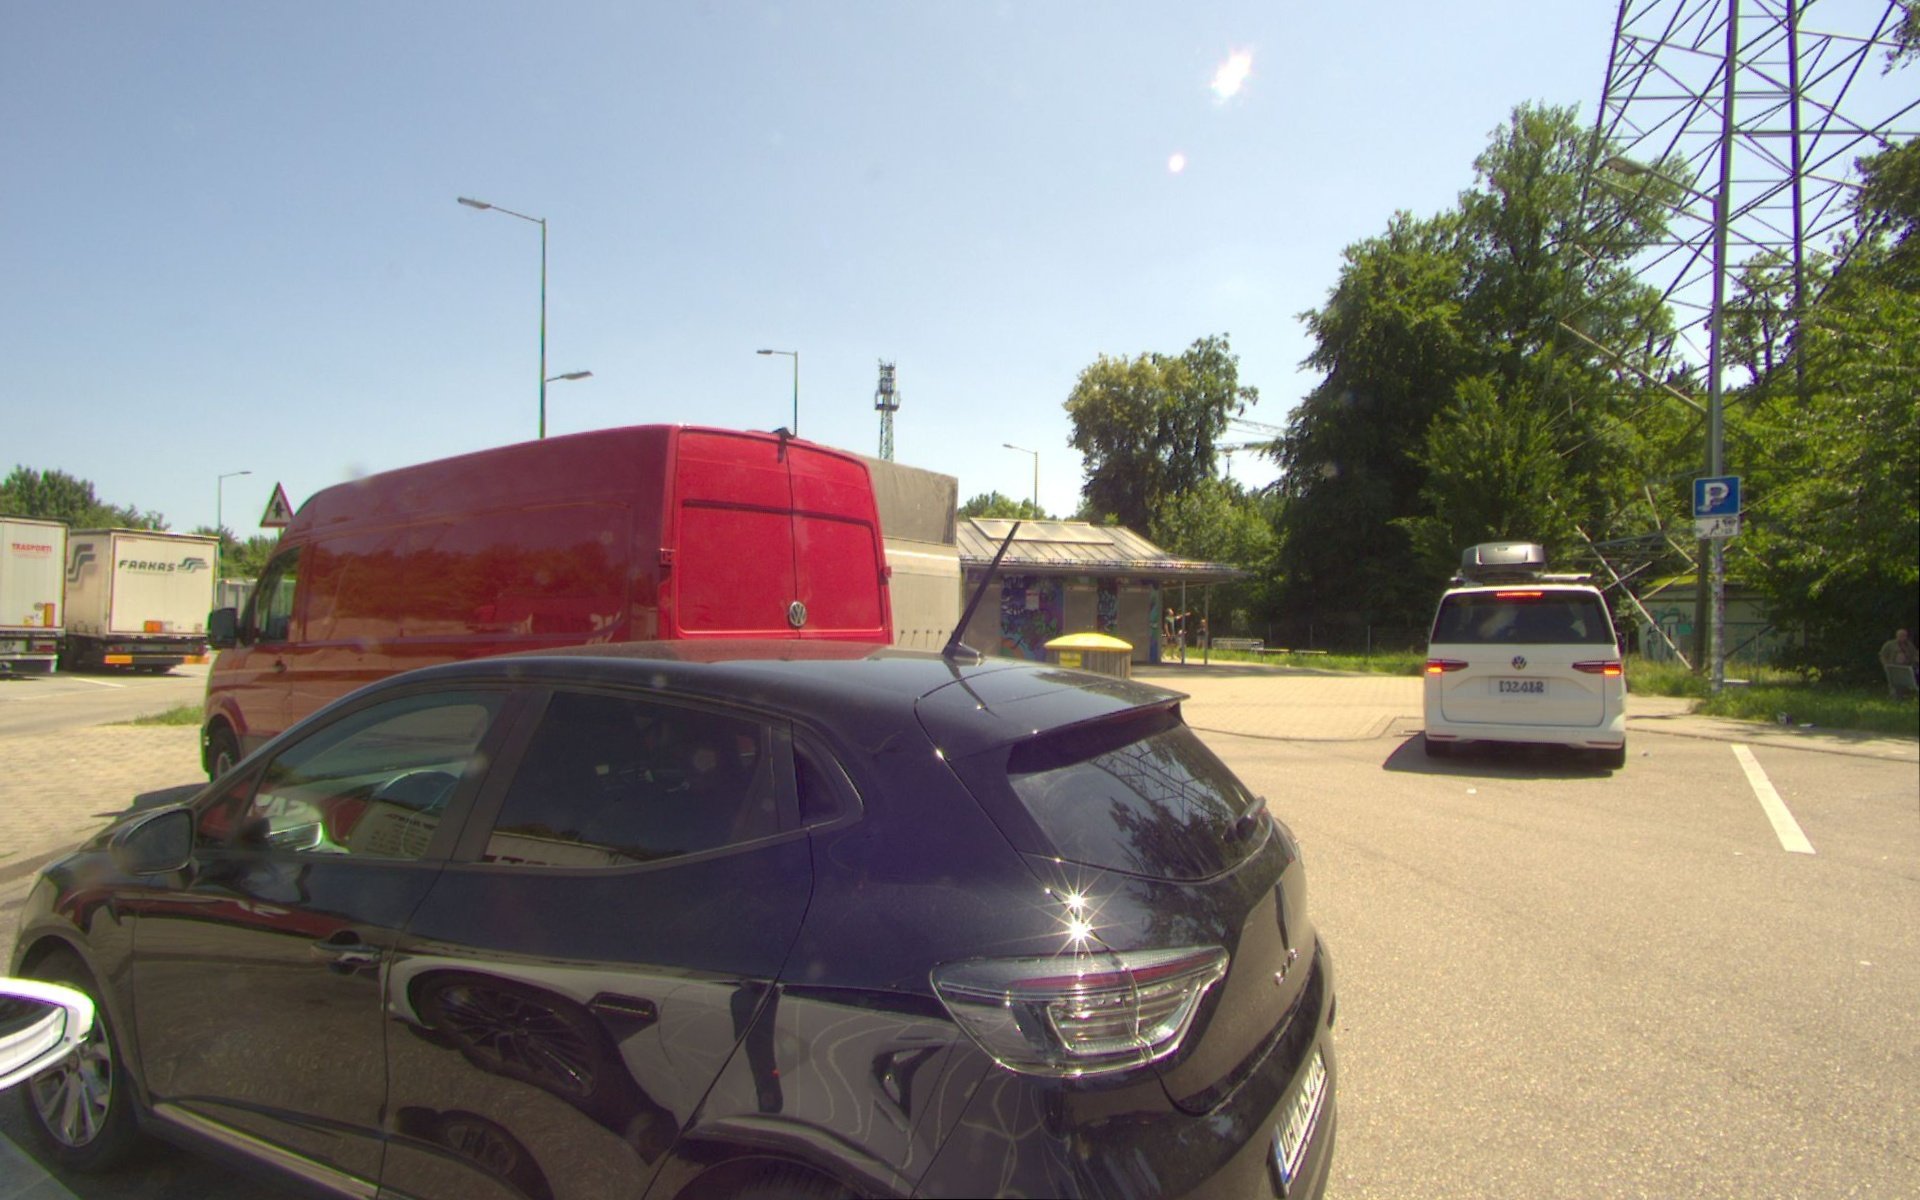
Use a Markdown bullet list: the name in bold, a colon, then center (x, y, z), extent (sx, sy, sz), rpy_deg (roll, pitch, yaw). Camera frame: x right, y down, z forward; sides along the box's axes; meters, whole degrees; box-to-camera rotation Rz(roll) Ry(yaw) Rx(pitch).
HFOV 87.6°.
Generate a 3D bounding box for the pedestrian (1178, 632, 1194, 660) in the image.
- **pedestrian**: center (8.348, 1.681, 36.984), extent (0.449, 1.018, 0.434), rpy_deg (1, 0, -10)

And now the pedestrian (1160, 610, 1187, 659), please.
- **pedestrian**: center (7.845, 1.261, 36.811), extent (0.708, 1.773, 0.739), rpy_deg (1, 0, -10)

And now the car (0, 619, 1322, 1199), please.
- **car**: center (-1.043, 0.836, 2.816), extent (3.706, 1.503, 1.615), rpy_deg (0, -1, 27)

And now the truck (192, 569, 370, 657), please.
- **truck**: center (-31.674, 0.504, 46.448), extent (11.255, 3.615, 2.484), rpy_deg (2, -1, 33)

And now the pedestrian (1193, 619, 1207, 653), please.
- **pedestrian**: center (10.939, 1.618, 45.605), extent (0.582, 1.536, 0.588), rpy_deg (1, 0, 16)

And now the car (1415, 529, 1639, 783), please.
- **car**: center (6.556, 0.570, 11.529), extent (1.892, 2.354, 4.074), rpy_deg (-1, -1, 32)

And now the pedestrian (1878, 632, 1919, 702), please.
- **pedestrian**: center (19.086, 1.340, 20.184), extent (0.697, 1.392, 0.605), rpy_deg (1, 0, 26)

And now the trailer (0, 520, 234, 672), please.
- **trailer**: center (-27.276, -0.202, 31.436), extent (12.255, 4.090, 2.862), rpy_deg (2, -1, 33)

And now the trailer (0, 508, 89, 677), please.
- **trailer**: center (-28.337, -0.332, 27.771), extent (12.255, 4.090, 2.862), rpy_deg (2, -1, 33)

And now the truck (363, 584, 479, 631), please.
- **truck**: center (-34.703, 0.464, 64.250), extent (9.637, 2.857, 2.121), rpy_deg (0, -1, 33)

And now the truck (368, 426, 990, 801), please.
- **truck**: center (-3.244, 0.134, 10.529), extent (6.874, 2.828, 2.460), rpy_deg (0, -1, 35)

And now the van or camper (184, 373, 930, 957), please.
- **van or camper**: center (-3.349, 0.325, 7.323), extent (6.394, 2.688, 1.990), rpy_deg (0, -1, 36)
